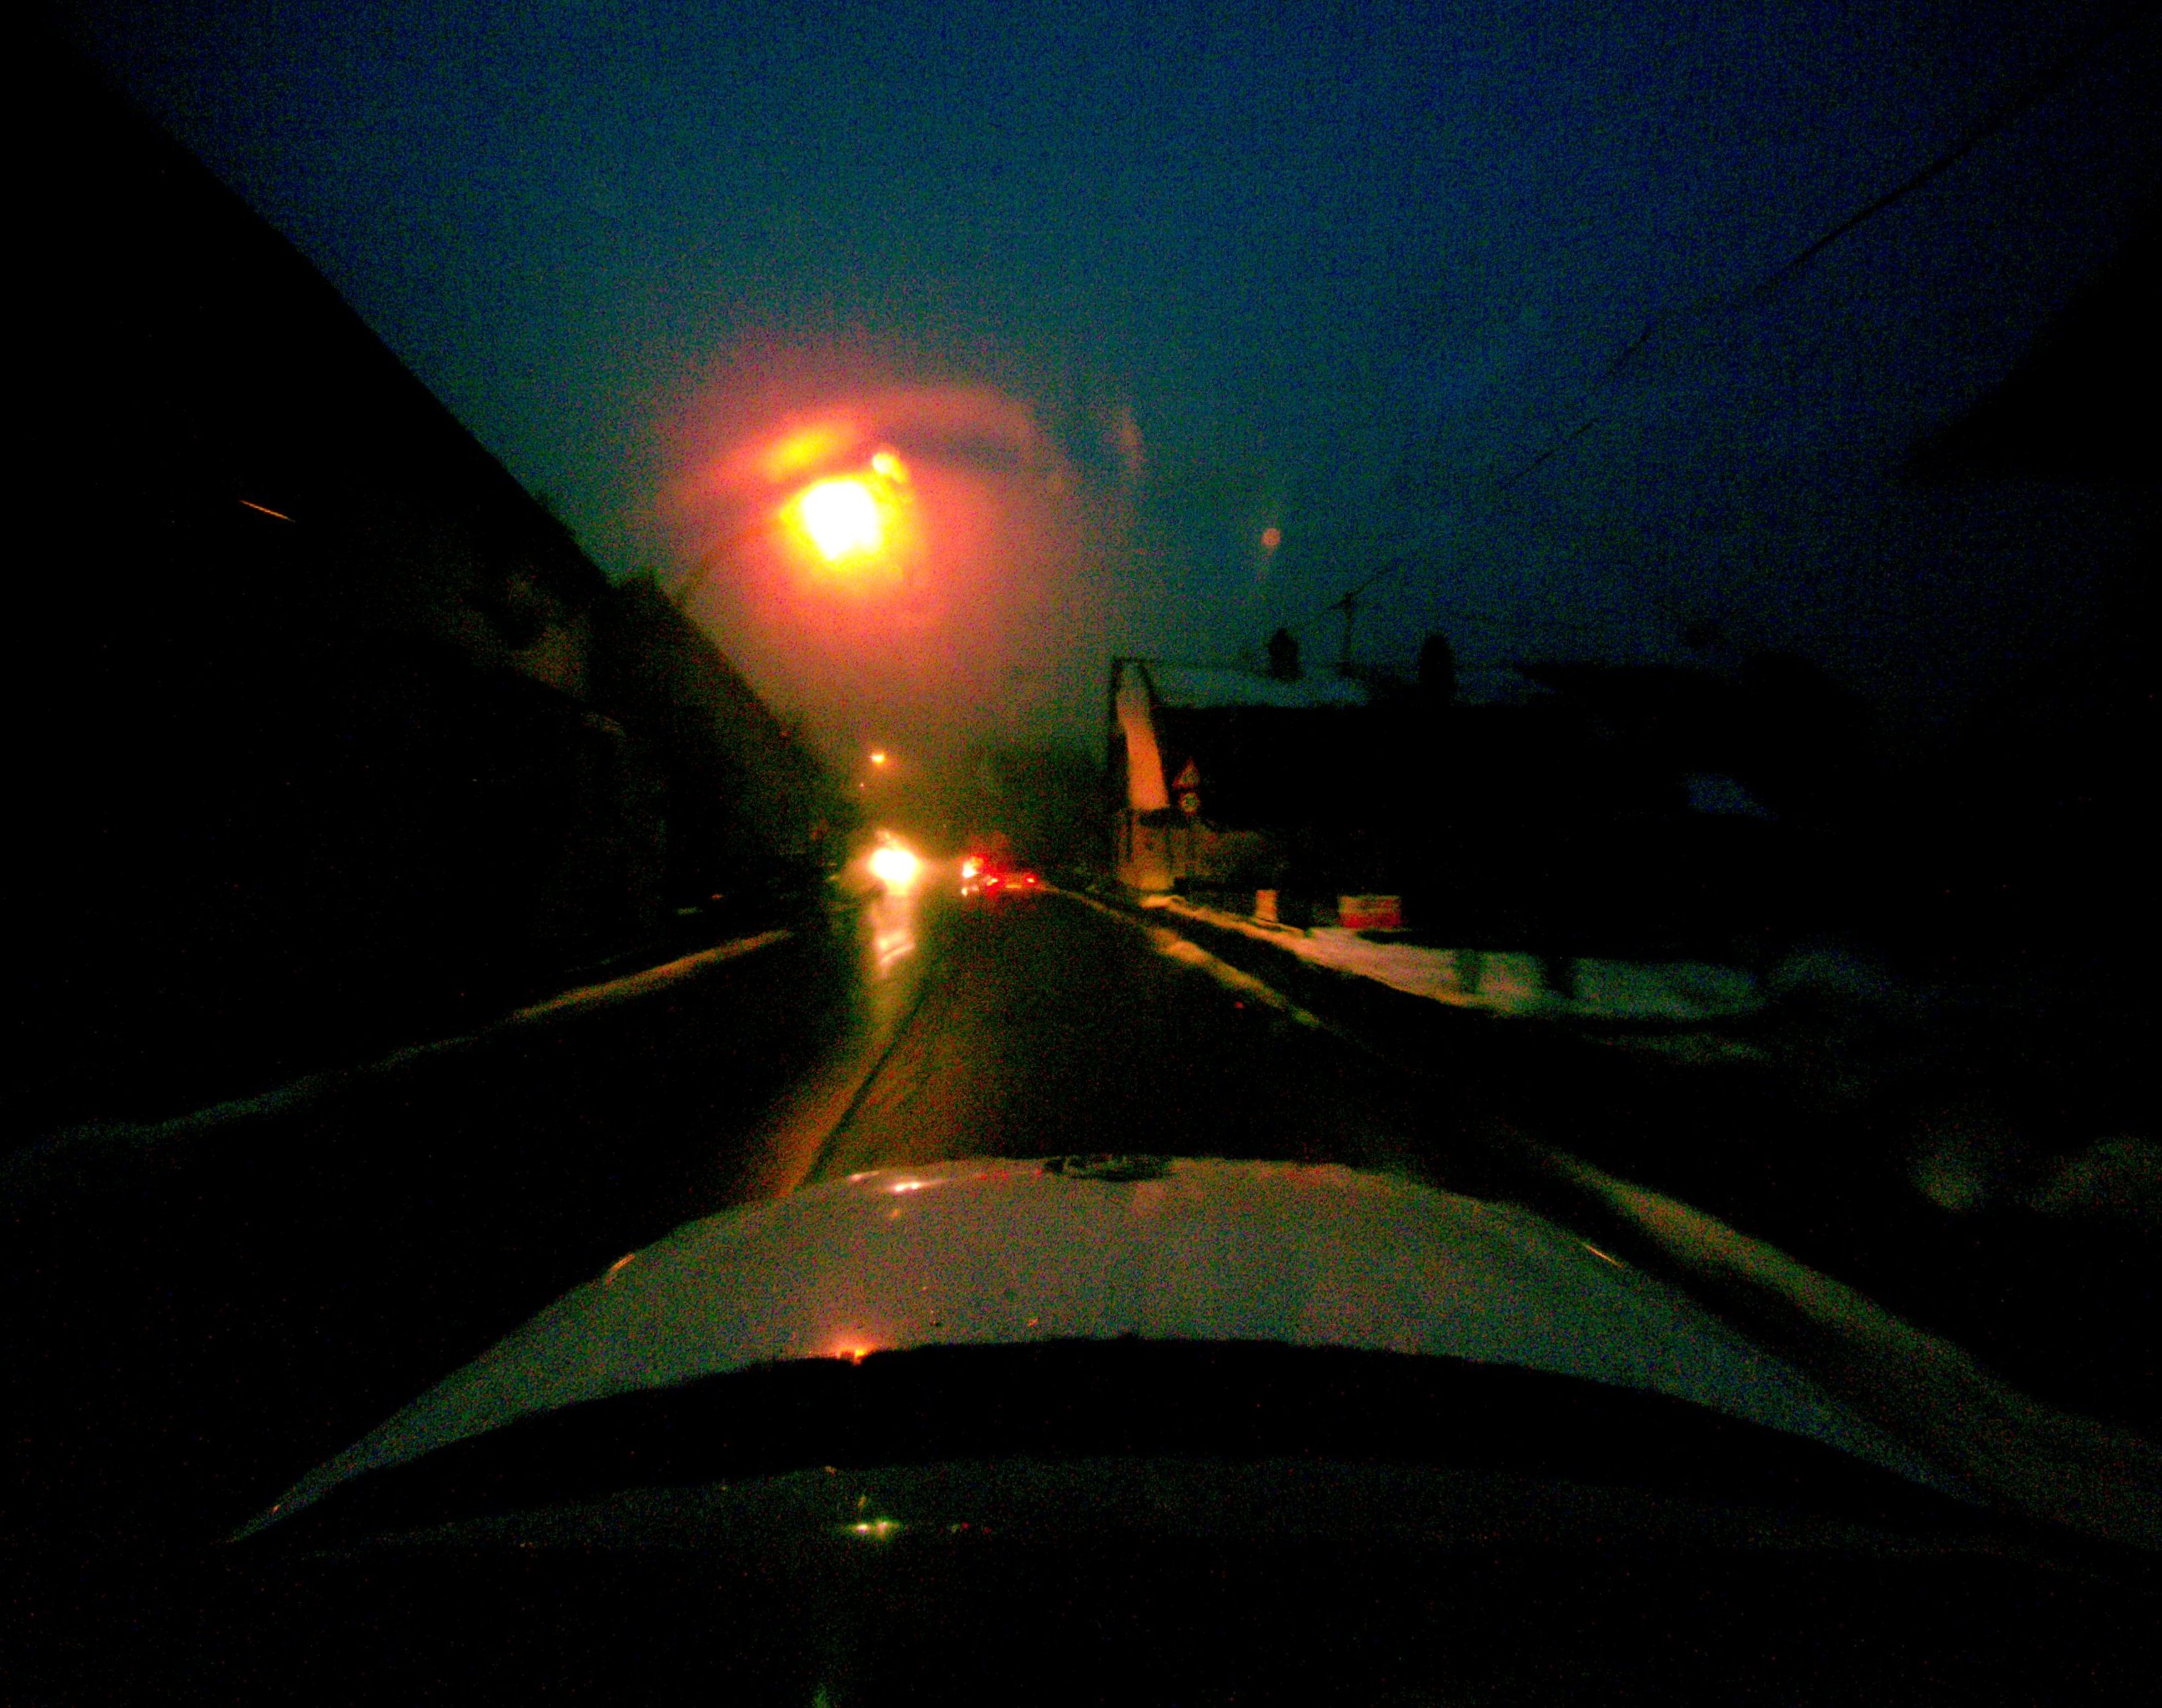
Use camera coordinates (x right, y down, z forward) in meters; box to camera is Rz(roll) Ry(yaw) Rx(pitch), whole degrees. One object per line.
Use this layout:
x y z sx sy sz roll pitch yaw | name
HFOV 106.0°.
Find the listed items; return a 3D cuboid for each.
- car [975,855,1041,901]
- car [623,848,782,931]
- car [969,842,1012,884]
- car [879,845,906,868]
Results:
-2.696 0.867 29.306 1.994 1.508 3.985 2 -2 -10 | car
-7.983 0.671 17.658 1.993 1.522 4.178 1 1 -9 | car
-4.595 0.514 41.863 1.990 2.014 3.993 2 -2 -4 | car
-14.685 0.251 63.636 1.841 1.687 4.461 -1 -1 -11 | car
